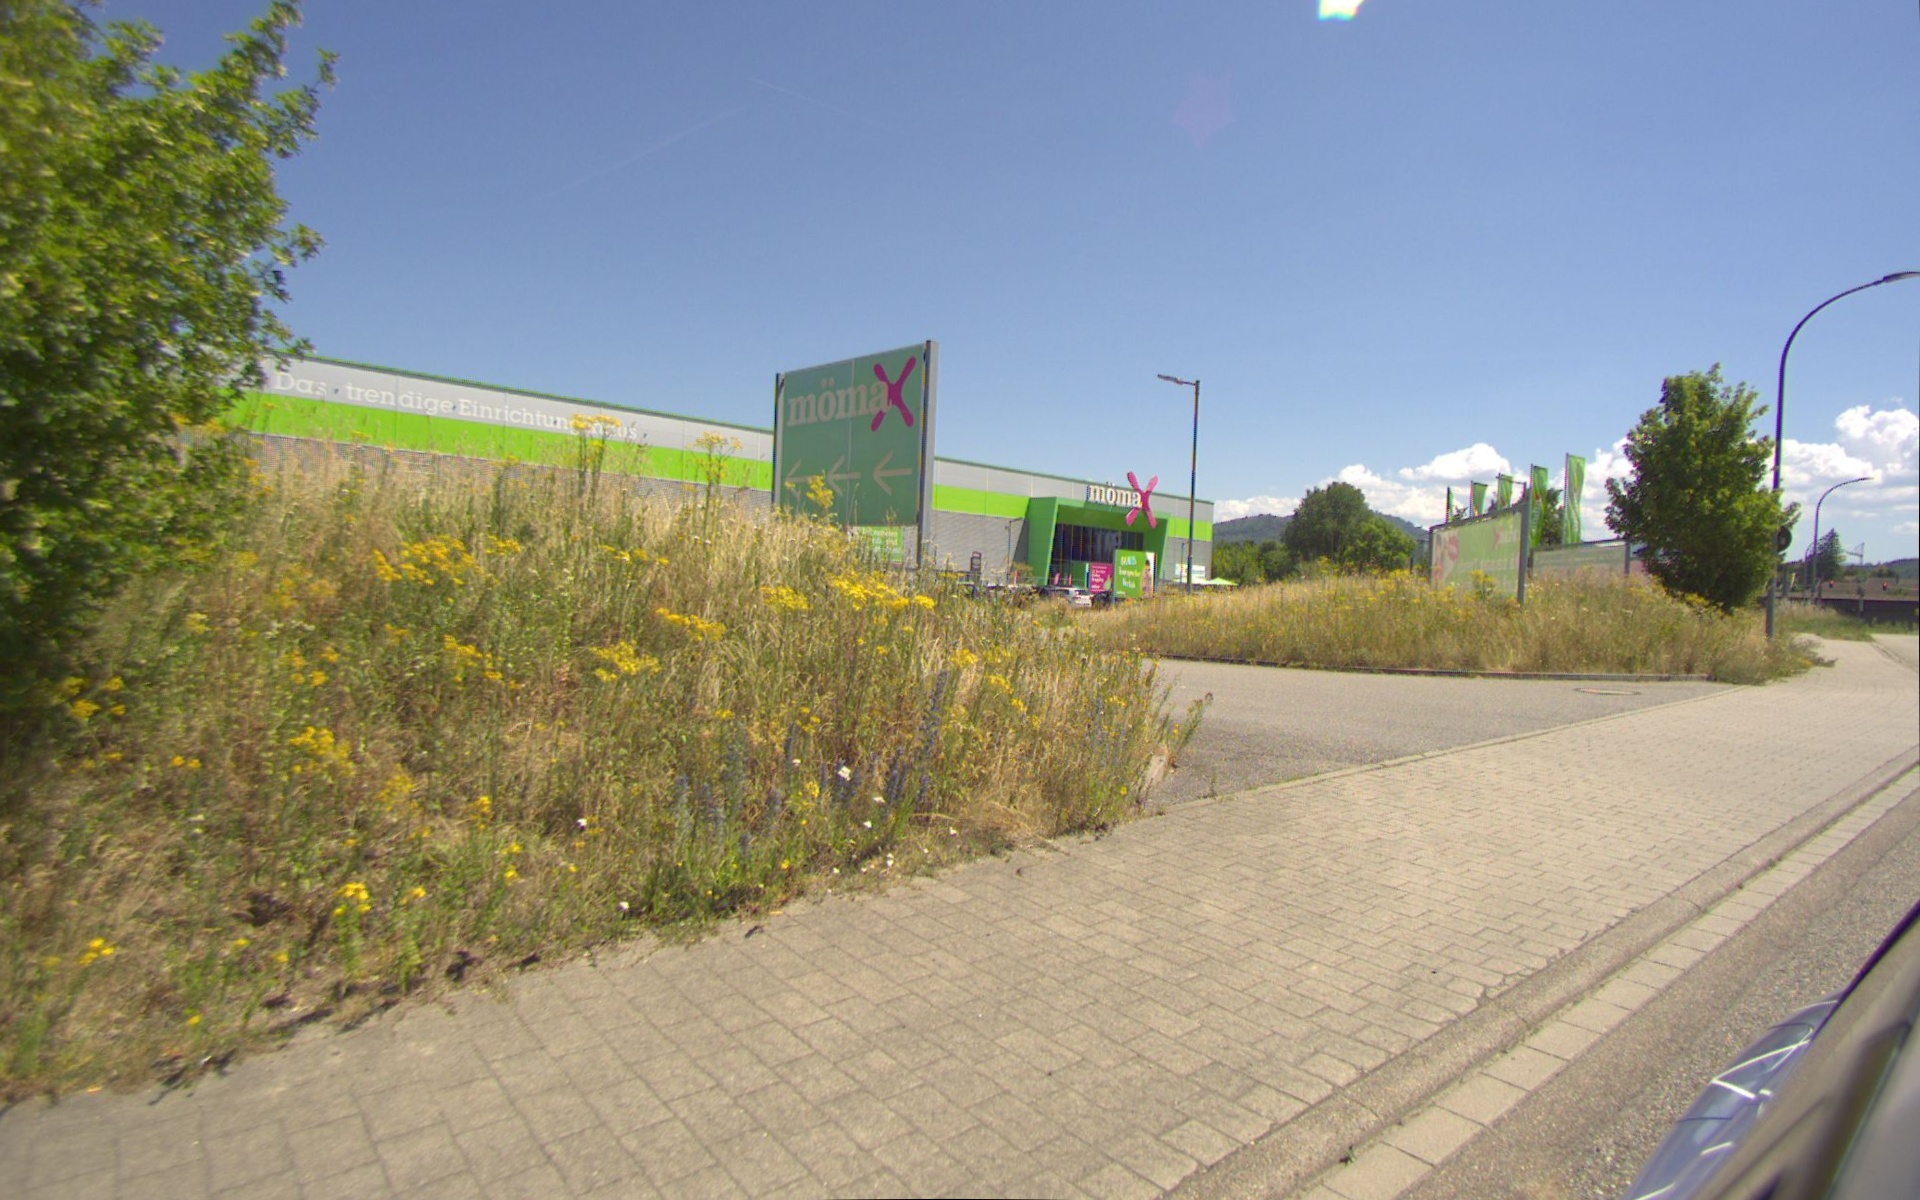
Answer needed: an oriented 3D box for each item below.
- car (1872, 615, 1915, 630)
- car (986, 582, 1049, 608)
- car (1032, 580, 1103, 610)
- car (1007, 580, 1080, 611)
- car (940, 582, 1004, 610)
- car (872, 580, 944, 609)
[{"bbox_3d":[116.845,2.812,126.665,1.818,1.559,3.739,0,4,-43],"label":"car"},{"bbox_3d":[3.793,-0.354,67.367,1.914,1.523,3.994,1,2,-42],"label":"car"},{"bbox_3d":[6.475,-0.320,61.282,1.914,1.550,3.994,1,2,-42],"label":"car"},{"bbox_3d":[4.850,-0.287,59.239,1.914,1.550,3.994,1,2,-42],"label":"car"},{"bbox_3d":[0.744,-0.277,64.856,1.914,1.523,3.994,1,2,-42],"label":"car"},{"bbox_3d":[-3.168,-0.347,60.794,1.966,1.538,4.413,1,2,-43],"label":"car"}]
